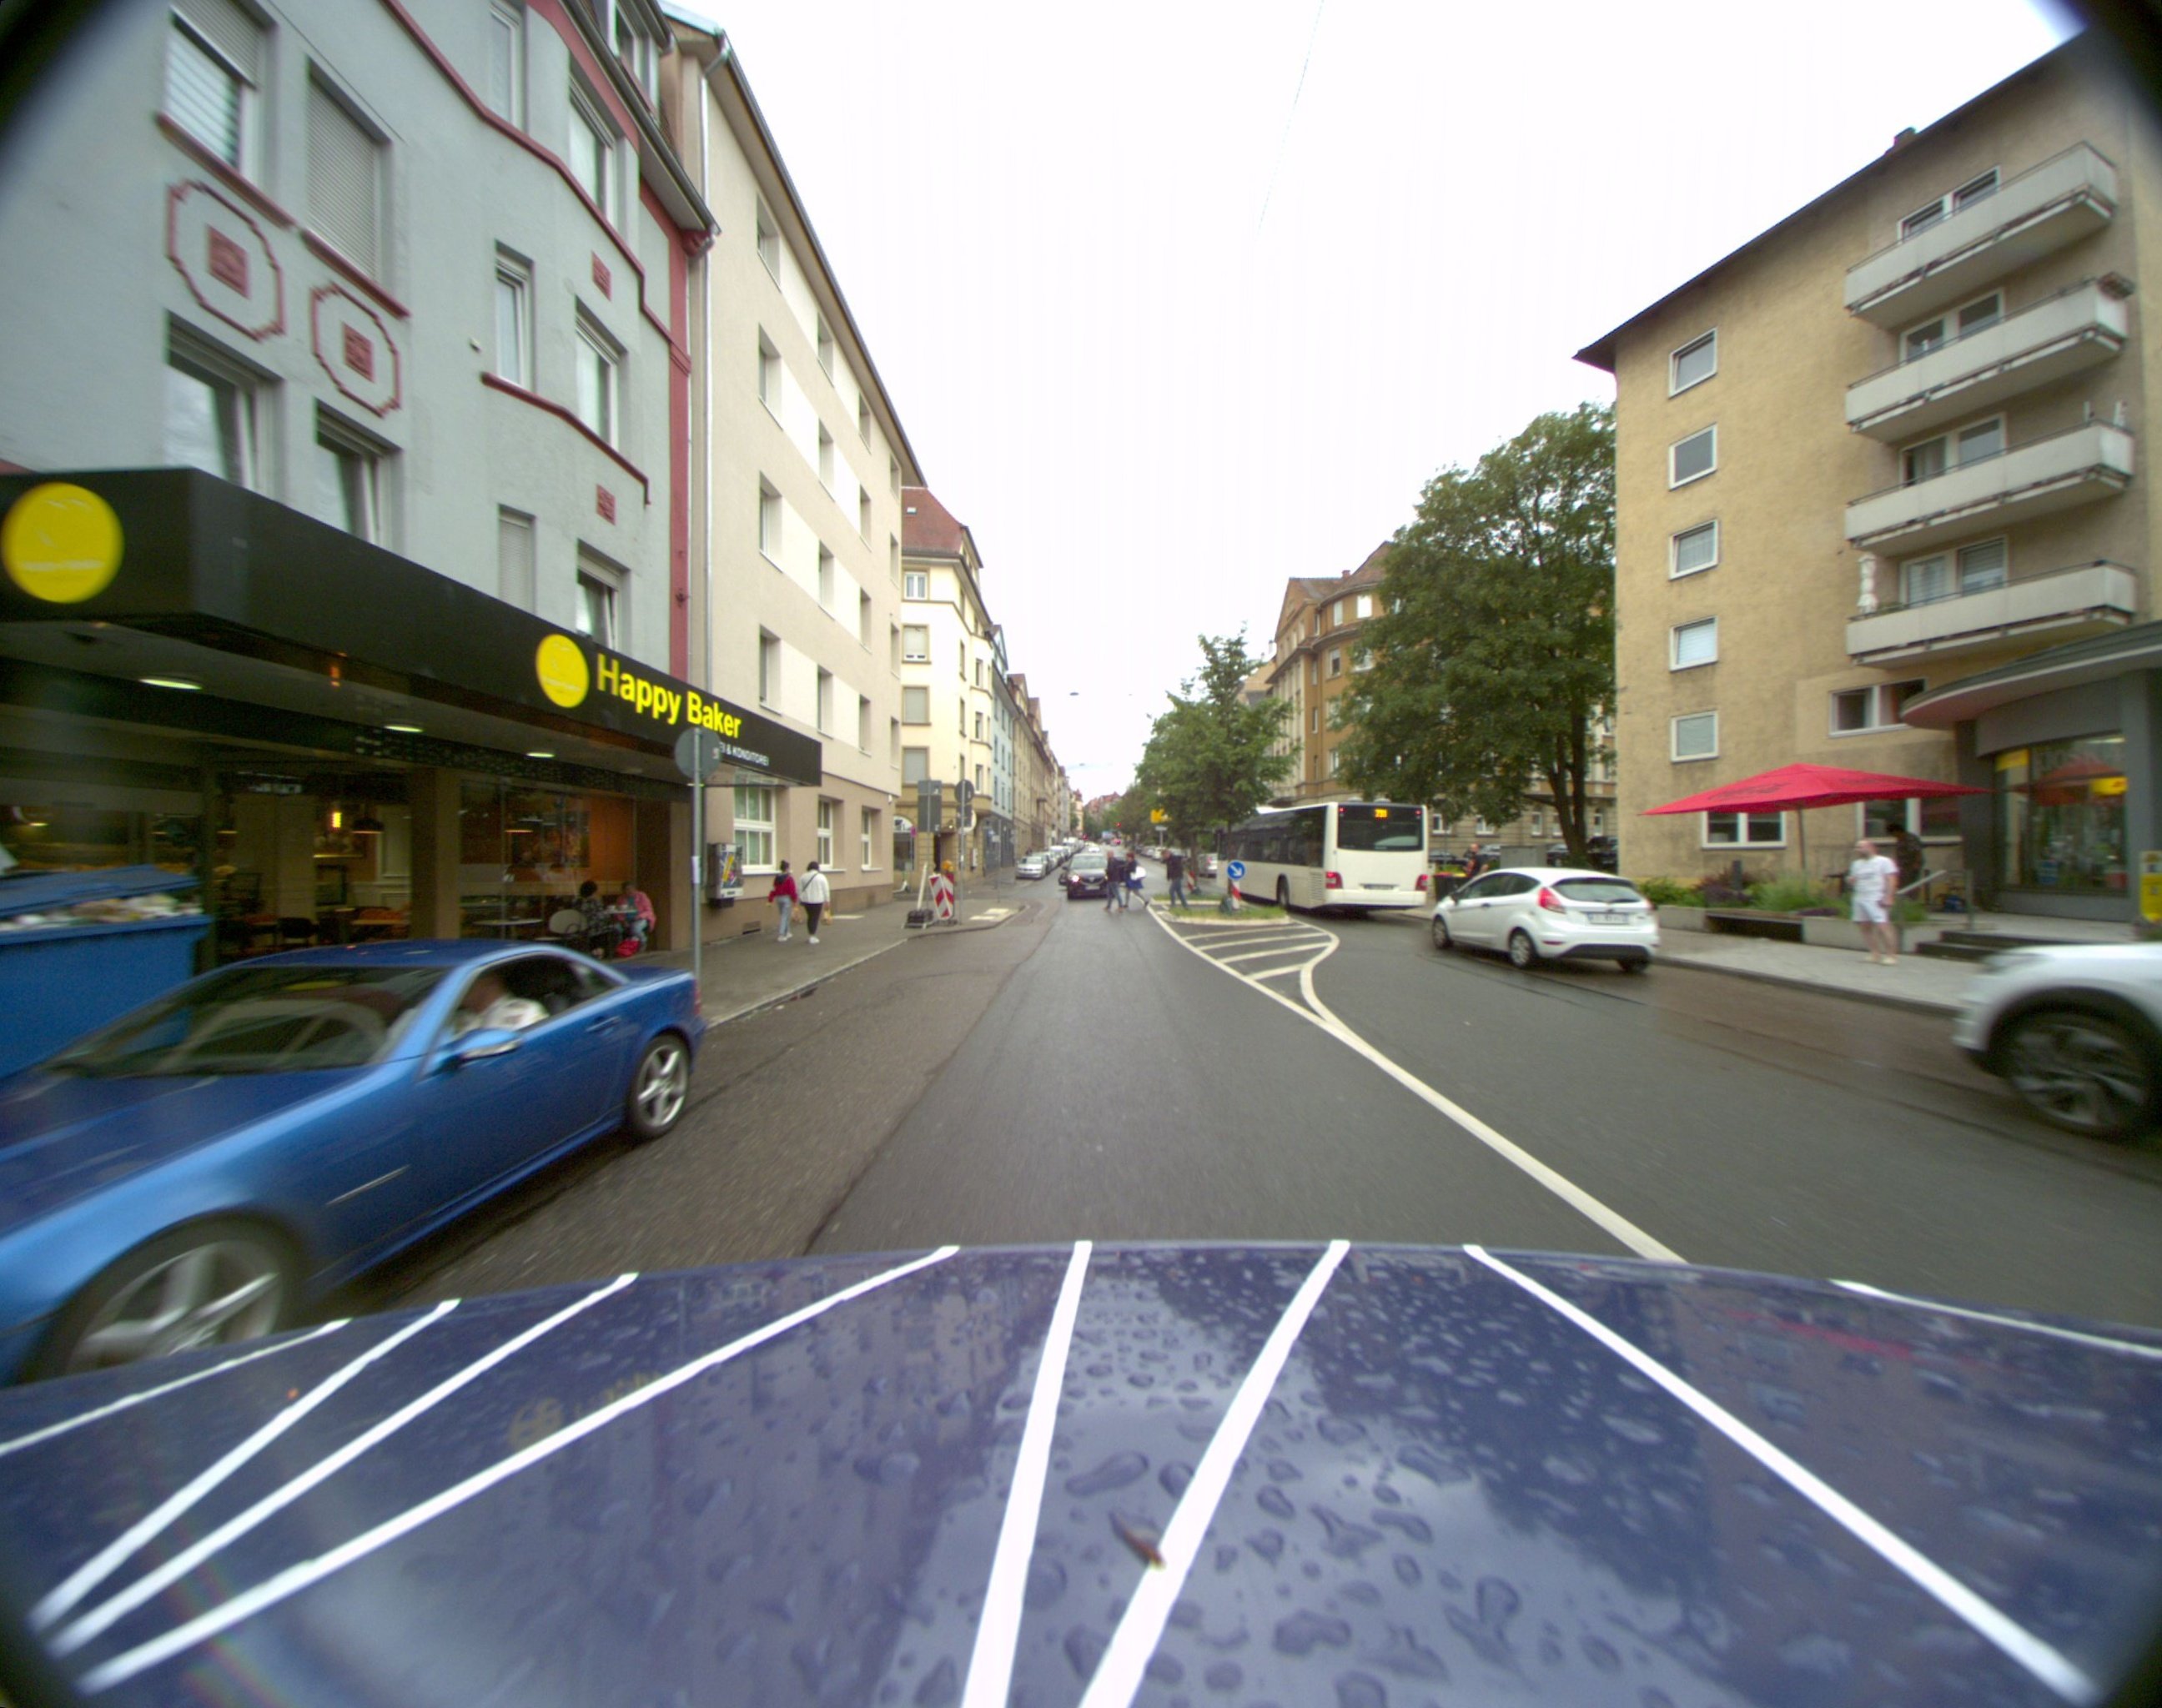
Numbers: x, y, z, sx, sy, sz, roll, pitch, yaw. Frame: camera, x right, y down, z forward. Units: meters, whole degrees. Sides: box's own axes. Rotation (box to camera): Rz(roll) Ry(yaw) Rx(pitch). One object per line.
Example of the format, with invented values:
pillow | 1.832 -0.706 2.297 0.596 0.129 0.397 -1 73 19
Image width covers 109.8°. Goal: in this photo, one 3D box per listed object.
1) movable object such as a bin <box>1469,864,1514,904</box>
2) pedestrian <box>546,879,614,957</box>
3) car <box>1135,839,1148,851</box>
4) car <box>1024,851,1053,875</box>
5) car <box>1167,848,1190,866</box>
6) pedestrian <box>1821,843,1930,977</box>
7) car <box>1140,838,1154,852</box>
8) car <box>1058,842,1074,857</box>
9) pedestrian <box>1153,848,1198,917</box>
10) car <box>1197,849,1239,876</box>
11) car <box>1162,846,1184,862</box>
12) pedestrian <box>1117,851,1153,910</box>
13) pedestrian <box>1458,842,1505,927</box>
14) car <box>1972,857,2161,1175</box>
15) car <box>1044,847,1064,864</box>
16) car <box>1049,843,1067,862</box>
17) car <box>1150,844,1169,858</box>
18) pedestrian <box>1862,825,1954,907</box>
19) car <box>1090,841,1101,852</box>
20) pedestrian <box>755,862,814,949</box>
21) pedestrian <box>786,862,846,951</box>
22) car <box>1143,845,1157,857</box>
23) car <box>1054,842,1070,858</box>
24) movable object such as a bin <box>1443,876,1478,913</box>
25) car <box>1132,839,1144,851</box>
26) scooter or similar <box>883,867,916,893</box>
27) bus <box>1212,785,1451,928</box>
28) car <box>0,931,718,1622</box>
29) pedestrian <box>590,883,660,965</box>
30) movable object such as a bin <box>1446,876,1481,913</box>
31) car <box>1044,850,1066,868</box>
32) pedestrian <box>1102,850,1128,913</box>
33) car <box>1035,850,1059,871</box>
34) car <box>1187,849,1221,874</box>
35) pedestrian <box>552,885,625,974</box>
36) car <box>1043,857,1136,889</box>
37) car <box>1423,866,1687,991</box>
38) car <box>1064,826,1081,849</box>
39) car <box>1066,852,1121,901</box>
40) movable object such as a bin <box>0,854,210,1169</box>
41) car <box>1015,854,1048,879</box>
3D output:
movable object such as a bin | 11.397 0.821 21.113 0.743 1.052 0.811 -2 1 -24
pedestrian | -8.559 1.079 13.000 0.703 1.250 0.658 2 0 1
car | 9.223 -1.383 116.530 1.640 1.871 3.658 -1 1 0
car | -3.041 0.617 54.754 1.817 1.583 3.893 -1 1 0
car | 9.015 0.297 70.526 1.672 1.507 3.696 -3 1 0
pedestrian | 10.792 0.732 10.331 0.793 1.699 0.761 -3 1 -24
car | 9.262 -1.295 107.277 1.640 1.871 3.658 -1 1 0
car | -2.028 -0.607 101.322 1.998 1.871 3.999 -1 1 0
pedestrian | 2.478 0.737 20.016 1.063 1.738 0.854 1 1 1
car | 8.425 0.494 46.993 1.814 1.507 3.675 -3 1 -1
car | 9.181 -0.019 75.892 1.672 1.507 3.393 -3 1 0
pedestrian | 1.591 0.761 22.190 0.791 1.655 0.699 -5 -1 16
pedestrian | 9.628 0.711 18.283 0.703 2.002 0.782 -1 1 -3
car | 6.318 0.856 2.494 1.899 1.564 4.124 1 1 1
car | -2.541 0.122 71.842 1.733 1.486 3.550 -1 1 0
car | -2.449 -0.191 82.019 1.733 1.887 3.550 -1 1 0
car | 8.850 -0.387 85.863 1.672 1.507 3.393 -3 1 0
pedestrian | 17.205 0.238 15.819 1.153 1.602 0.940 -3 0 -24
car | 2.363 -1.228 123.772 1.796 1.768 3.902 -1 1 0
pedestrian | -5.824 0.981 14.932 0.701 1.637 0.785 2 1 35
pedestrian | -5.120 0.982 14.680 0.701 1.637 0.785 2 1 35
car | 9.311 -0.476 102.203 1.558 1.507 3.393 -3 1 1
car | -2.185 -0.481 89.136 1.719 1.871 3.907 -1 1 0
movable object such as a bin | 11.084 1.178 22.206 0.742 1.052 0.579 -1 1 5
car | 9.548 -1.510 127.783 1.640 1.871 3.658 -1 1 0
scooter or similar | -8.955 1.275 37.505 1.482 1.144 0.486 -4 7 -37
bus | 6.999 -0.028 24.045 2.813 3.228 11.955 4 1 -3
car | -3.390 1.201 3.164 1.738 1.302 3.767 -2 0 3
pedestrian | -7.393 1.123 12.335 0.703 1.250 0.658 2 0 1
movable object such as a bin | 11.486 1.203 22.848 0.742 1.052 0.578 -1 1 -3
car | -2.243 0.413 65.763 1.733 1.486 3.550 -1 1 0
pedestrian | 0.964 0.776 21.558 0.611 1.738 0.698 -3 1 1
car | -2.714 0.469 61.582 1.776 1.583 3.550 -1 1 0
car | 8.269 0.466 51.352 1.672 1.507 3.392 -3 1 -1
pedestrian | -7.377 1.117 11.404 0.624 1.250 0.659 2 0 9
car | 0.381 0.884 36.014 4.003 1.411 1.809 -1 0 -18
car | 6.875 0.974 11.548 1.619 1.455 3.806 2 0 1
car | -1.336 -2.620 124.635 2.554 3.612 9.049 -1 1 0
car | 0.395 0.788 28.832 1.856 1.646 4.203 -1 1 -2
movable object such as a bin | -6.670 0.902 4.709 1.002 1.783 1.296 0 1 -1
car | -3.148 0.783 49.209 1.856 1.456 4.204 -1 1 0
